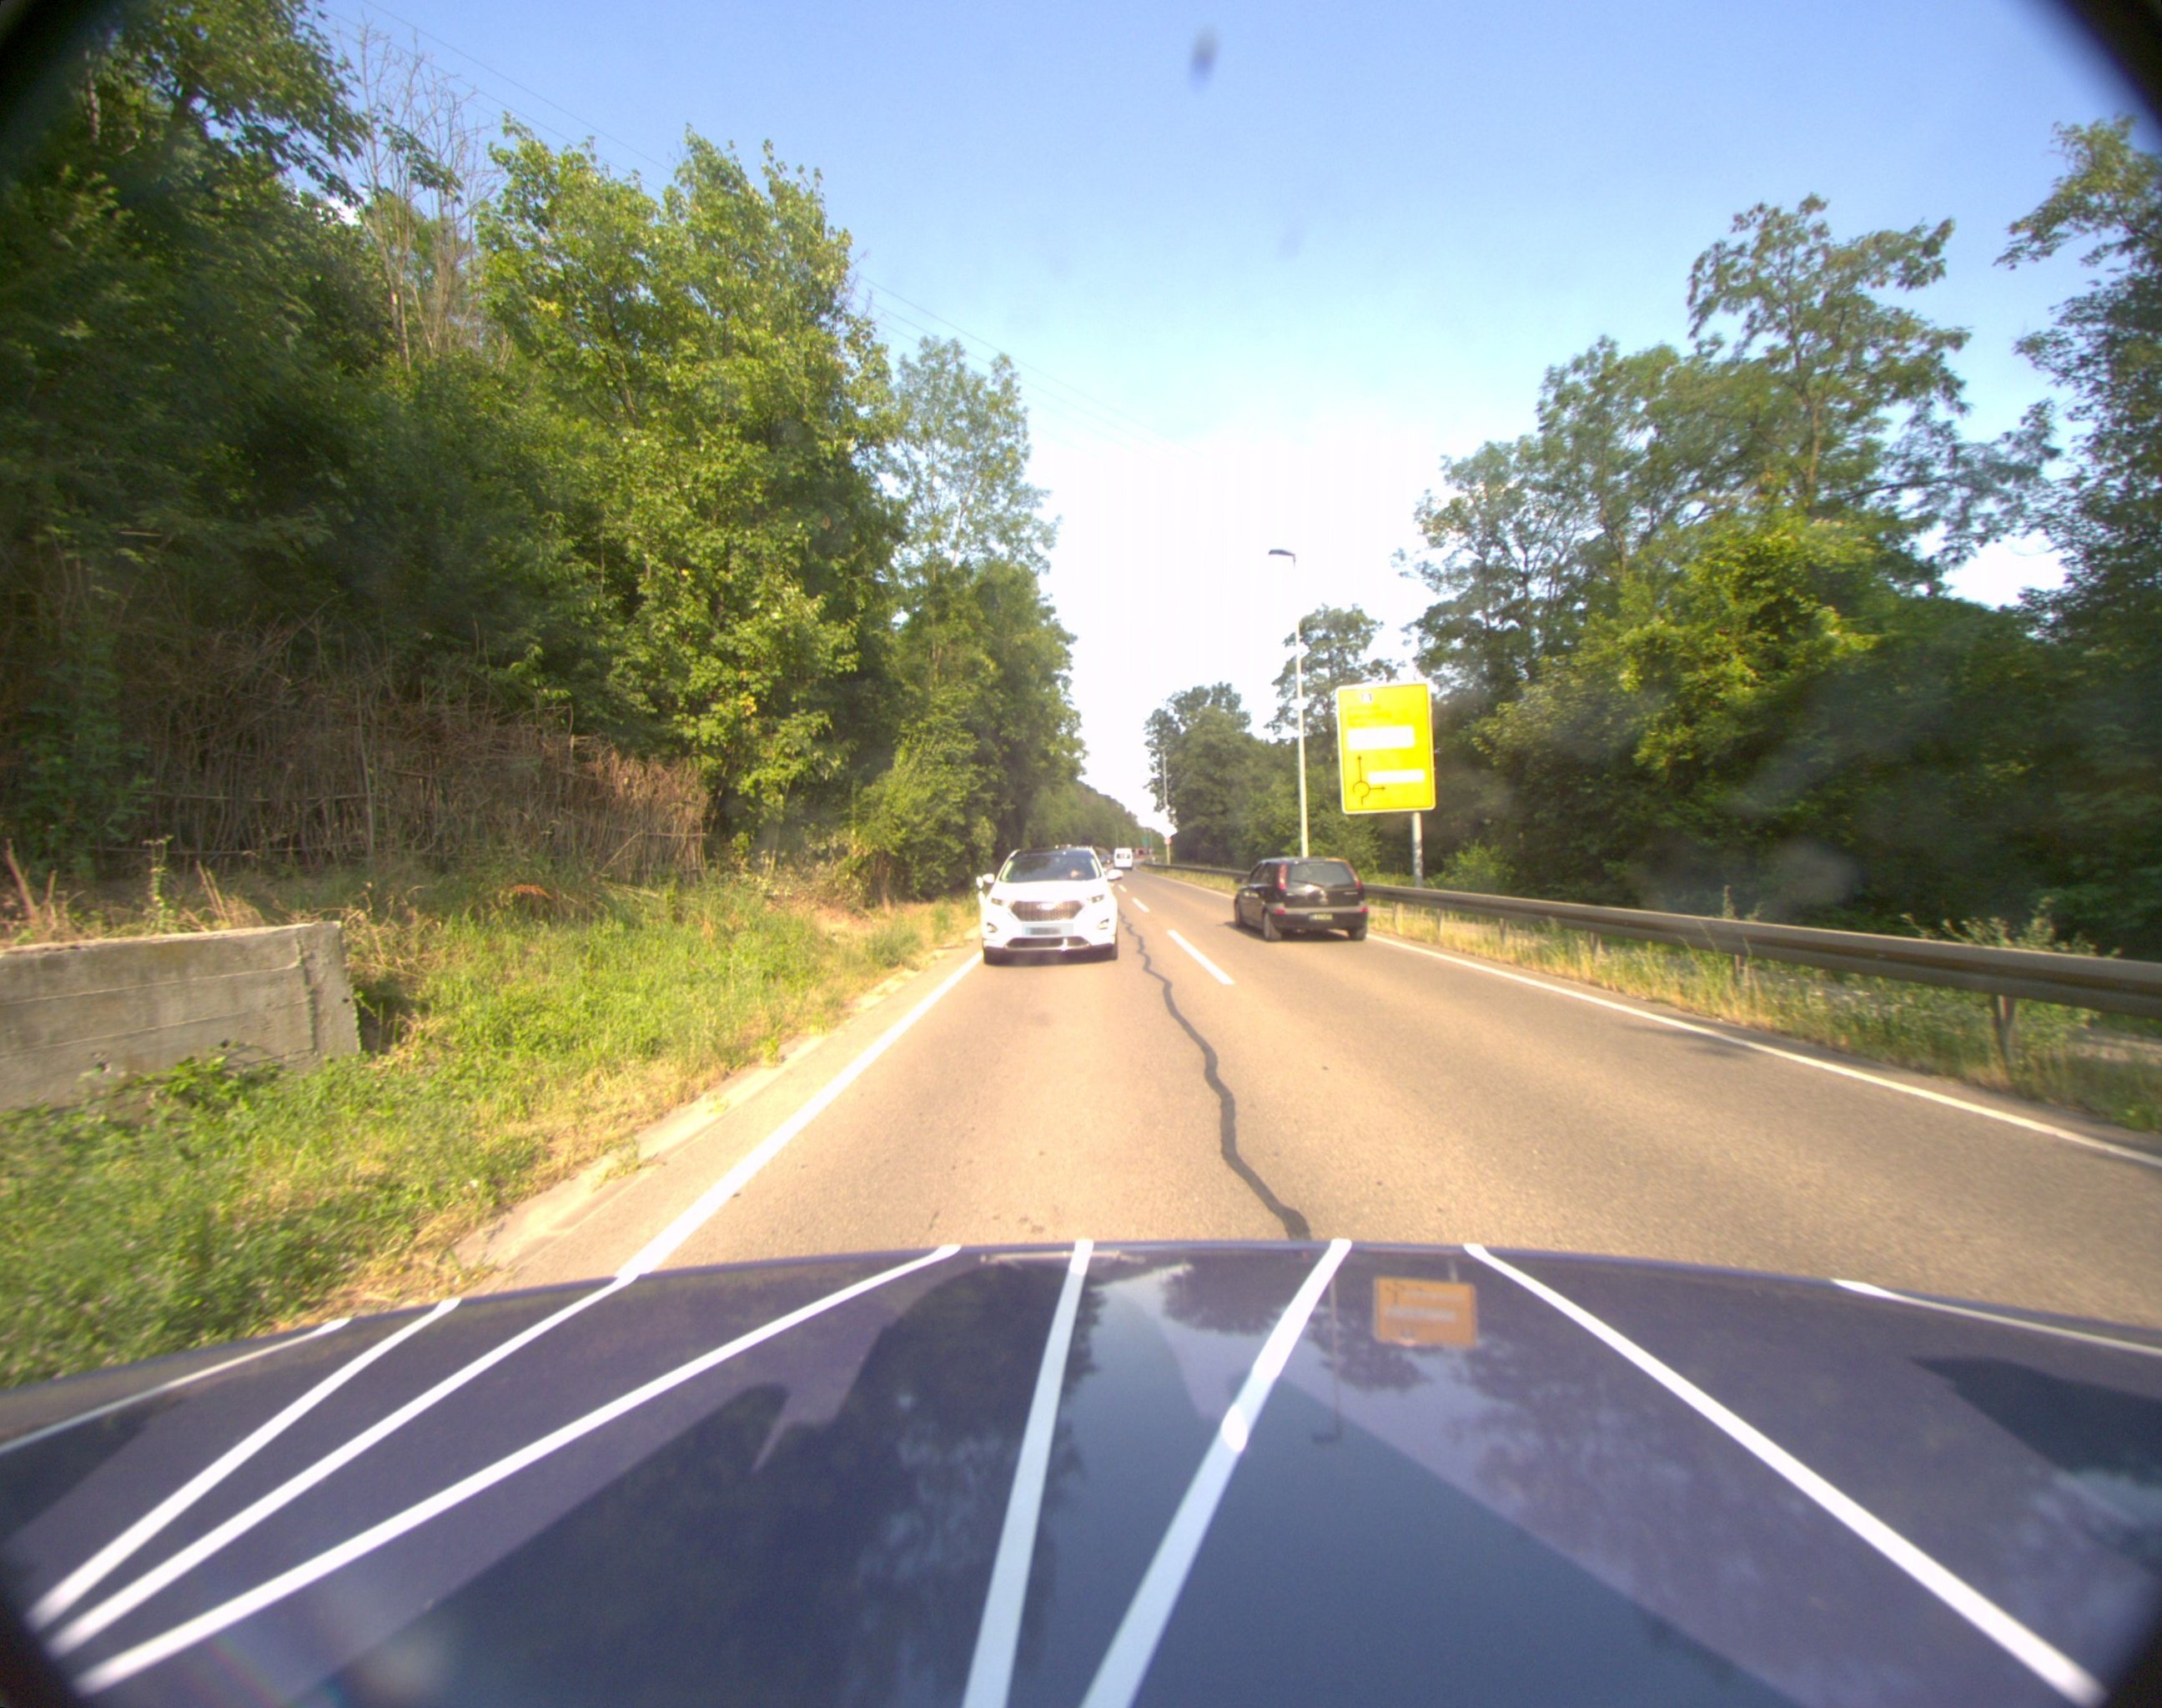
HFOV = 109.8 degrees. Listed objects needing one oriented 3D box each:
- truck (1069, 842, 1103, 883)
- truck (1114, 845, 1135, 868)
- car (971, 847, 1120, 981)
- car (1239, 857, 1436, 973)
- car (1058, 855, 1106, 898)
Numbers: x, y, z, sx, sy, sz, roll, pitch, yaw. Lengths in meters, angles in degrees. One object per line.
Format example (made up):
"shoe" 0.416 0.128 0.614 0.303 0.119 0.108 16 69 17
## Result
"truck" 0.321 0.484 46.801 1.894 2.334 5.273 -2 0 1
"truck" 4.674 0.215 82.139 2.062 2.371 5.874 -2 1 3
"car" -0.438 0.783 12.068 1.894 1.691 4.136 -3 0 1
"car" 3.761 0.806 11.902 1.686 1.433 3.999 -1 0 -1
"car" 0.076 0.831 29.962 1.704 1.477 4.136 -2 0 1
